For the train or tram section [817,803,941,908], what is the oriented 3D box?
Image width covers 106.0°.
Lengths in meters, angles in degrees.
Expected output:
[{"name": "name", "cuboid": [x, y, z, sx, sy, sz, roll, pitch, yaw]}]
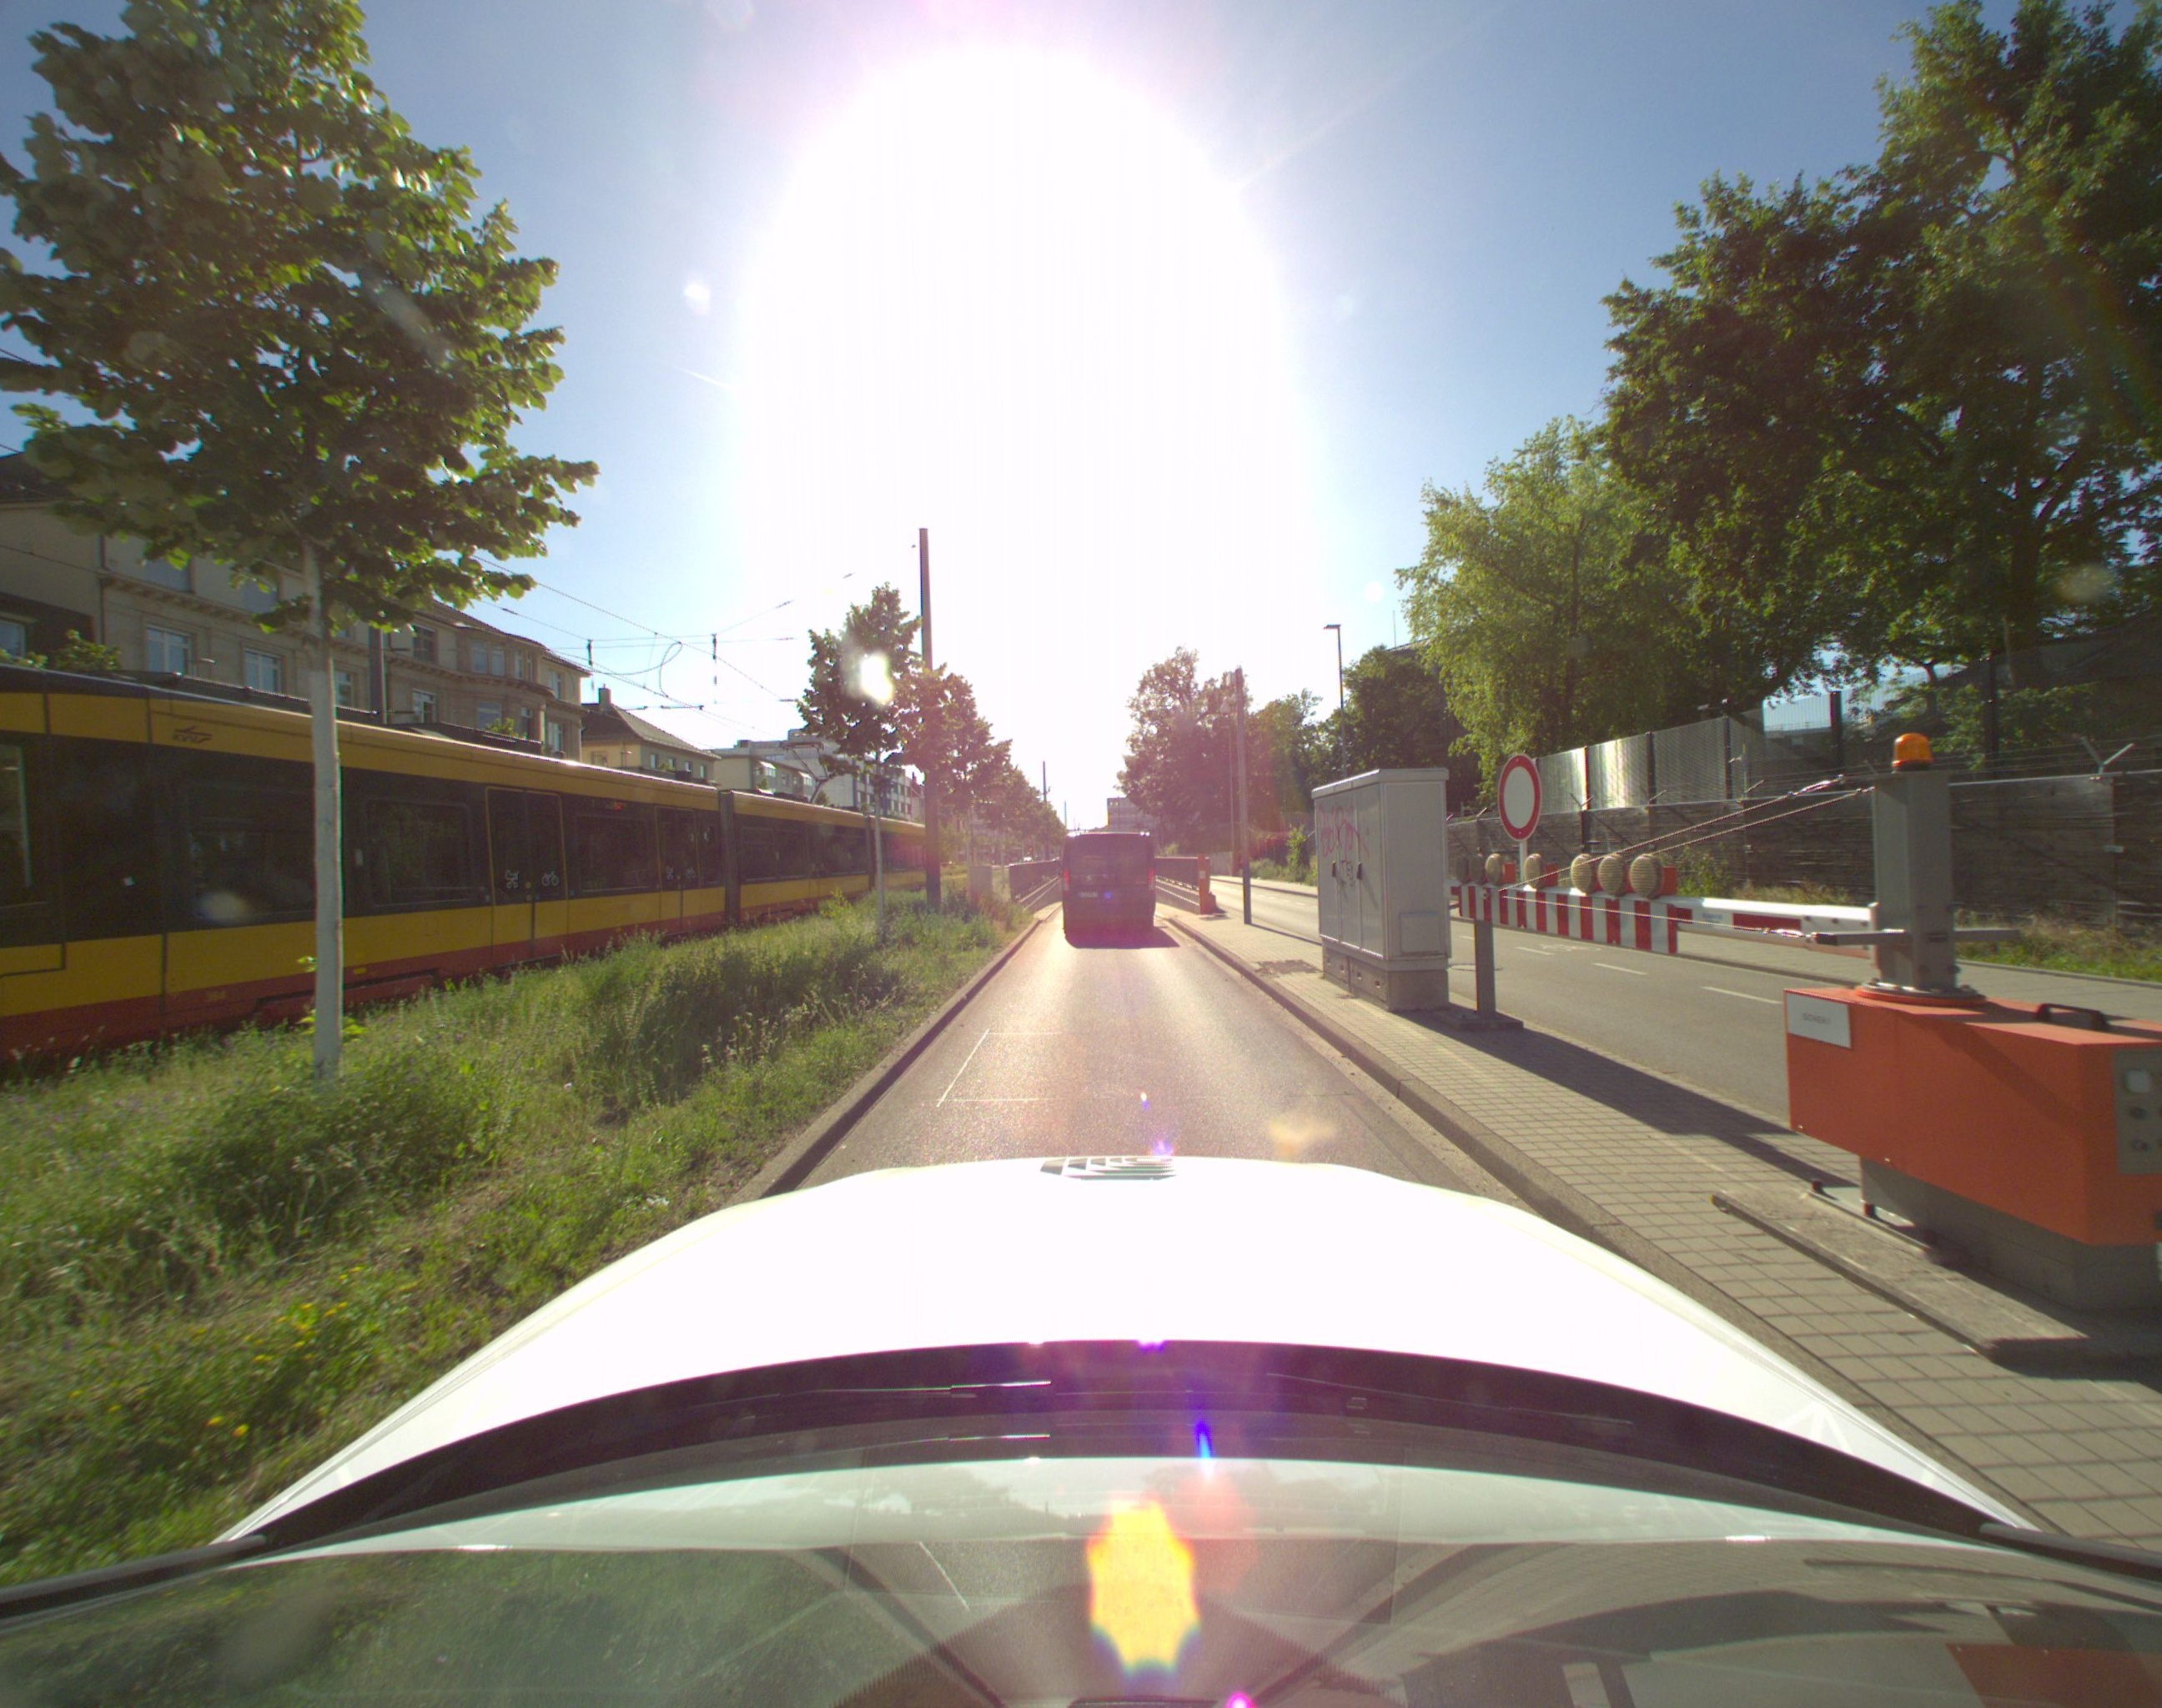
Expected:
[{"name": "train or tram section", "cuboid": [-8.166, 0.075, 34.671, 1.986, 3.669, 11.687, -1, 0, 2]}]

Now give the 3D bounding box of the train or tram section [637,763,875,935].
[{"name": "train or tram section", "cuboid": [-8.443, -0.079, 23.210, 1.986, 3.669, 11.317, -1, 0, 1]}]

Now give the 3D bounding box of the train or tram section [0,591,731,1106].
[{"name": "train or tram section", "cuboid": [-8.651, -0.002, 10.517, 1.987, 3.669, 14.152, -1, 0, 1]}]

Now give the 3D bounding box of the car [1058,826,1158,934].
[{"name": "car", "cuboid": [0.594, 0.562, 19.217, 2.075, 2.249, 4.000, -1, 0, 1]}]
